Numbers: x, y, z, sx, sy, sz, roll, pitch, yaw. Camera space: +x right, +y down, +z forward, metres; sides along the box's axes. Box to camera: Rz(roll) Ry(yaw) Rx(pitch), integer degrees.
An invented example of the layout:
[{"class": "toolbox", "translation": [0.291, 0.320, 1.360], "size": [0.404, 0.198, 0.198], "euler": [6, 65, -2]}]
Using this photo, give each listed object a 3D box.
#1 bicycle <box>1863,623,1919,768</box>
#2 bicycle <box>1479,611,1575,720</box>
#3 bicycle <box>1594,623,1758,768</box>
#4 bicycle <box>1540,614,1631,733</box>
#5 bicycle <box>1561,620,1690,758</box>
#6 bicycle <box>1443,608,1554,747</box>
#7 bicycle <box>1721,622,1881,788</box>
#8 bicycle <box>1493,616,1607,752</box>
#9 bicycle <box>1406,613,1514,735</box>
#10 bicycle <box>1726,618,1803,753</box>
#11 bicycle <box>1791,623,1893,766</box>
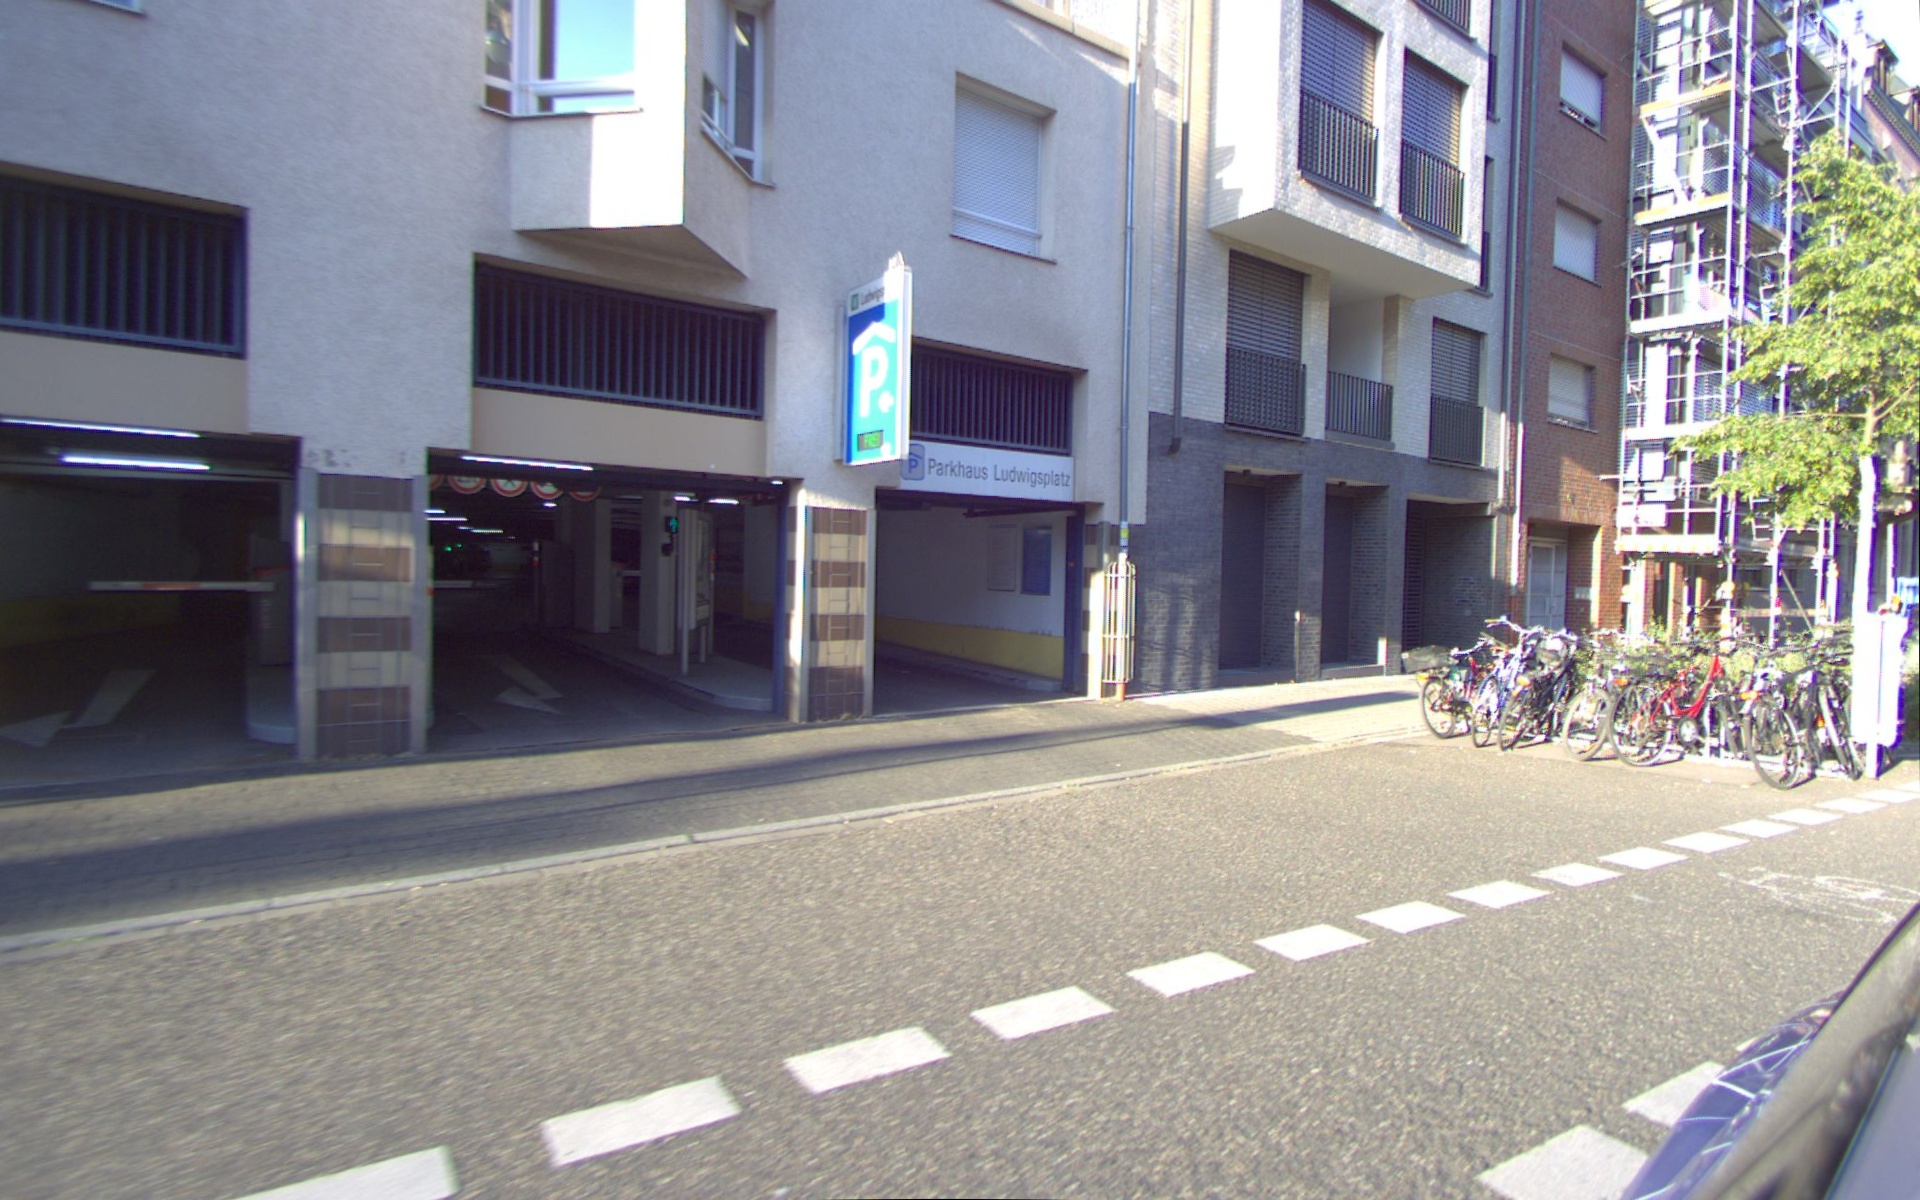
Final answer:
[{"class": "bicycle", "translation": [8.171, 0.779, 8.661], "size": [1.495, 1.113, 0.383], "euler": [0, 2, -39]}, {"class": "bicycle", "translation": [6.307, 0.693, 11.232], "size": [1.496, 1.113, 0.382], "euler": [0, 2, -40]}, {"class": "bicycle", "translation": [6.006, 0.766, 8.475], "size": [1.491, 1.121, 0.373], "euler": [1, 2, -24]}, {"class": "bicycle", "translation": [6.483, 0.722, 10.462], "size": [1.497, 1.113, 0.382], "euler": [0, 2, -43]}, {"class": "bicycle", "translation": [5.963, 0.757, 9.044], "size": [1.535, 1.113, 0.383], "euler": [0, 2, -35]}, {"class": "bicycle", "translation": [5.157, 0.697, 9.663], "size": [1.496, 1.204, 0.382], "euler": [-1, 1, -40]}, {"class": "bicycle", "translation": [6.507, 0.770, 7.812], "size": [1.533, 1.155, 0.364], "euler": [0, 2, -28]}, {"class": "bicycle", "translation": [5.419, 0.728, 9.267], "size": [1.496, 1.114, 0.382], "euler": [-1, 2, -39]}, {"class": "bicycle", "translation": [5.101, 0.717, 10.290], "size": [1.496, 1.113, 0.382], "euler": [-1, 3, -40]}, {"class": "bicycle", "translation": [7.571, 0.759, 9.558], "size": [0.380, 1.113, 1.505], "euler": [2, 2, 33]}, {"class": "bicycle", "translation": [7.704, 0.783, 8.825], "size": [1.495, 1.113, 0.383], "euler": [0, 2, -39]}]
